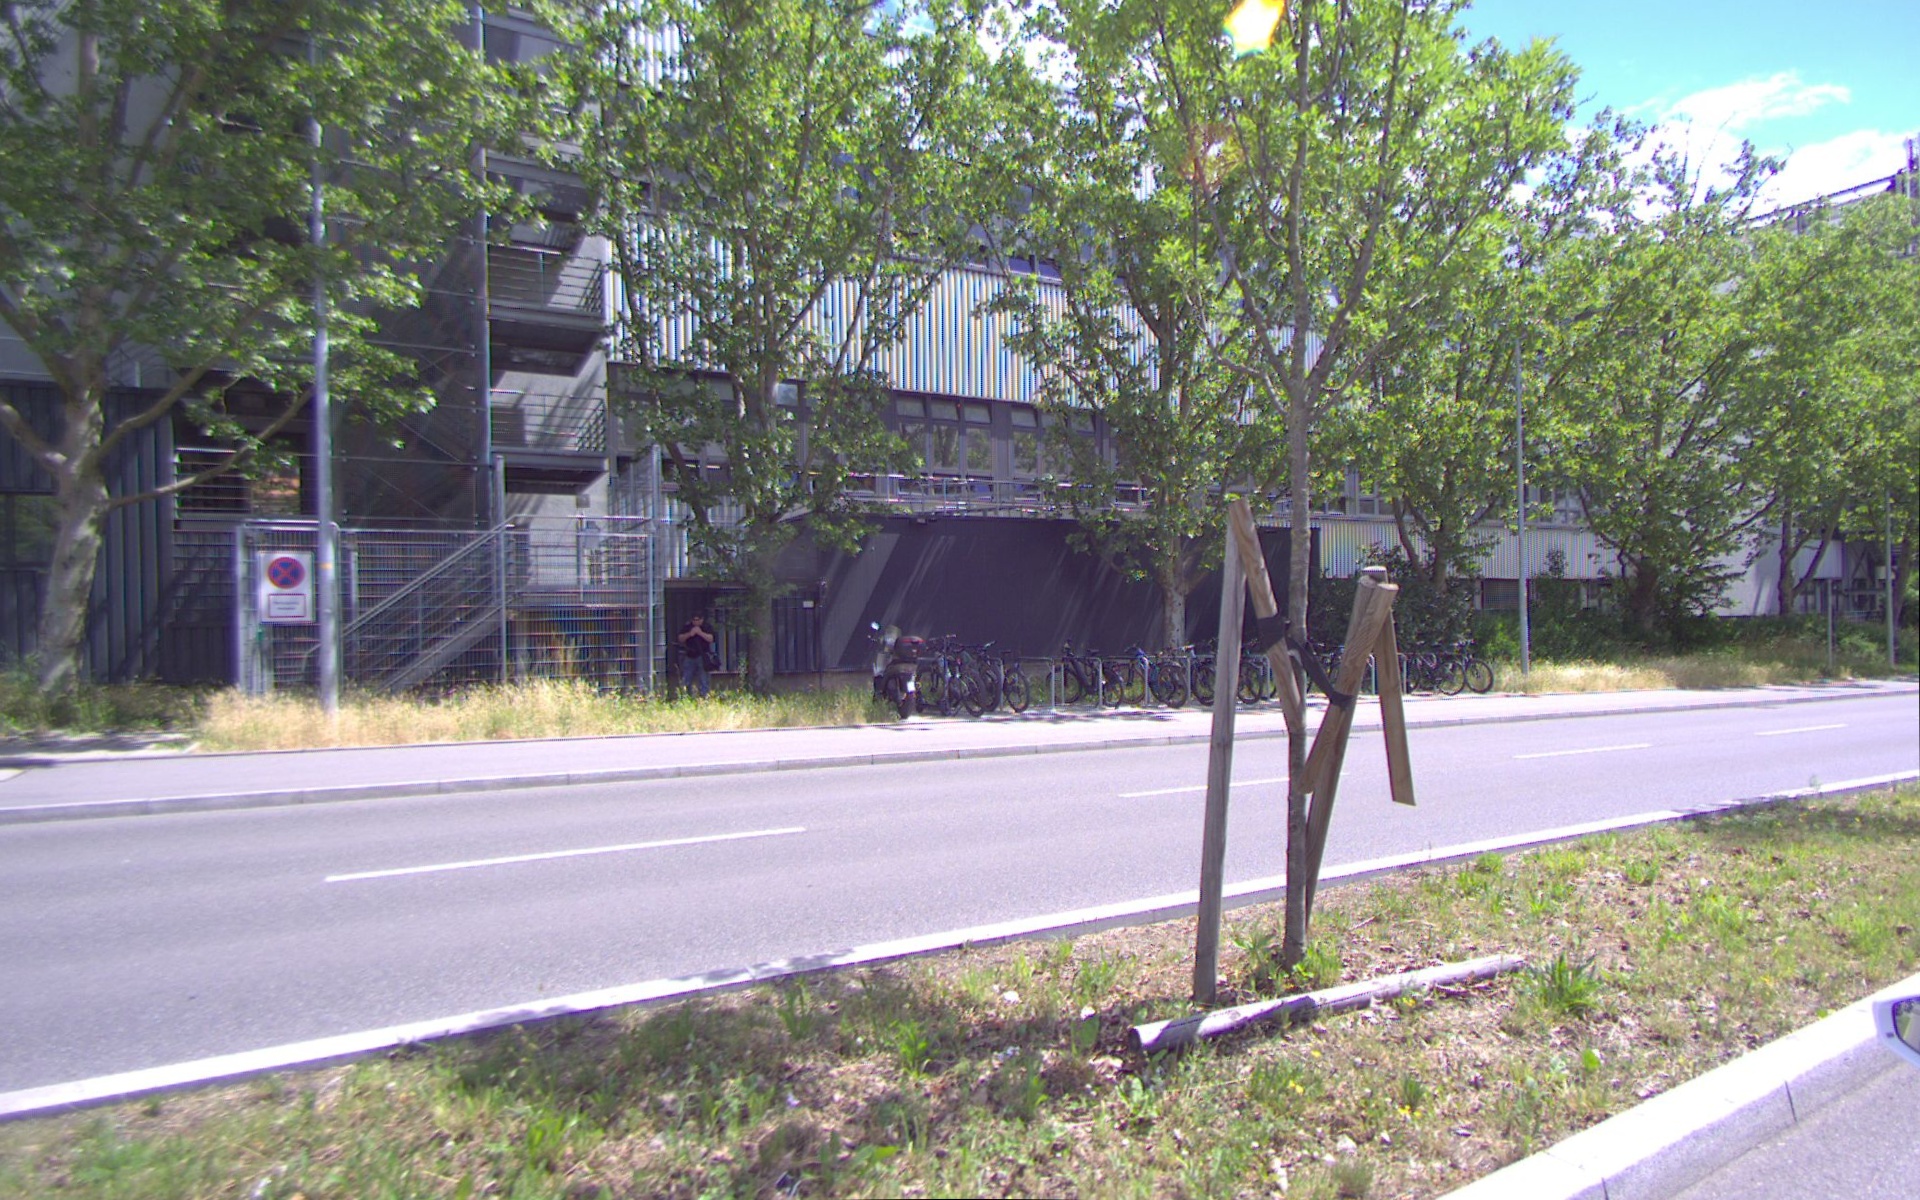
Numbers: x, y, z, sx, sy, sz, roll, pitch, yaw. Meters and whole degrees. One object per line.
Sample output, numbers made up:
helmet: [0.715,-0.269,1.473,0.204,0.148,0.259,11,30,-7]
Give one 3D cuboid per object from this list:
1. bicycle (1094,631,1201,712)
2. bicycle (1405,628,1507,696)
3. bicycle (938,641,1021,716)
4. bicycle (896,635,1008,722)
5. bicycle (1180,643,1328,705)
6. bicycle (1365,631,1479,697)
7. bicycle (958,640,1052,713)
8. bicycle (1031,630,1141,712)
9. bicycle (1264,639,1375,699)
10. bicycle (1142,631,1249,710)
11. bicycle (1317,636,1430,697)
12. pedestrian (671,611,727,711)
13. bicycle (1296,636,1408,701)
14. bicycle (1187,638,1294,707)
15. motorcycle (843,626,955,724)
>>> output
bicycle: [3.274,1.219,17.714,0.797,1.299,1.908,1,0,-31]
bicycle: [10.891,1.323,22.137,0.483,1.382,2.158,1,0,-27]
bicycle: [0.288,1.249,16.441,0.417,1.089,1.914,1,0,-31]
bicycle: [-0.168,1.185,15.747,0.797,1.196,2.123,1,0,-31]
bicycle: [5.671,1.402,19.607,0.843,1.020,2.813,1,0,-38]
bicycle: [9.875,1.342,21.595,0.549,1.274,2.395,1,-1,-27]
bicycle: [0.714,1.227,16.629,0.491,1.076,2.070,1,0,-31]
bicycle: [2.189,1.203,17.736,0.797,1.299,2.123,1,0,-31]
bicycle: [7.283,1.372,20.535,0.685,1.110,2.562,1,-2,-19]
bicycle: [4.257,1.247,18.317,0.797,1.299,1.908,1,-1,-31]
bicycle: [8.859,1.395,21.665,0.714,1.173,2.562,1,0,-19]
pedestrian: [-4.271,0.979,16.434,0.808,1.572,0.753,1,0,-20]
bicycle: [8.048,1.371,20.766,0.634,1.173,2.562,1,0,-19]
bicycle: [5.183,1.313,18.683,0.797,1.137,1.908,1,0,-31]
motorcycle: [-0.964,1.077,15.141,0.797,1.326,2.123,1,0,-31]
